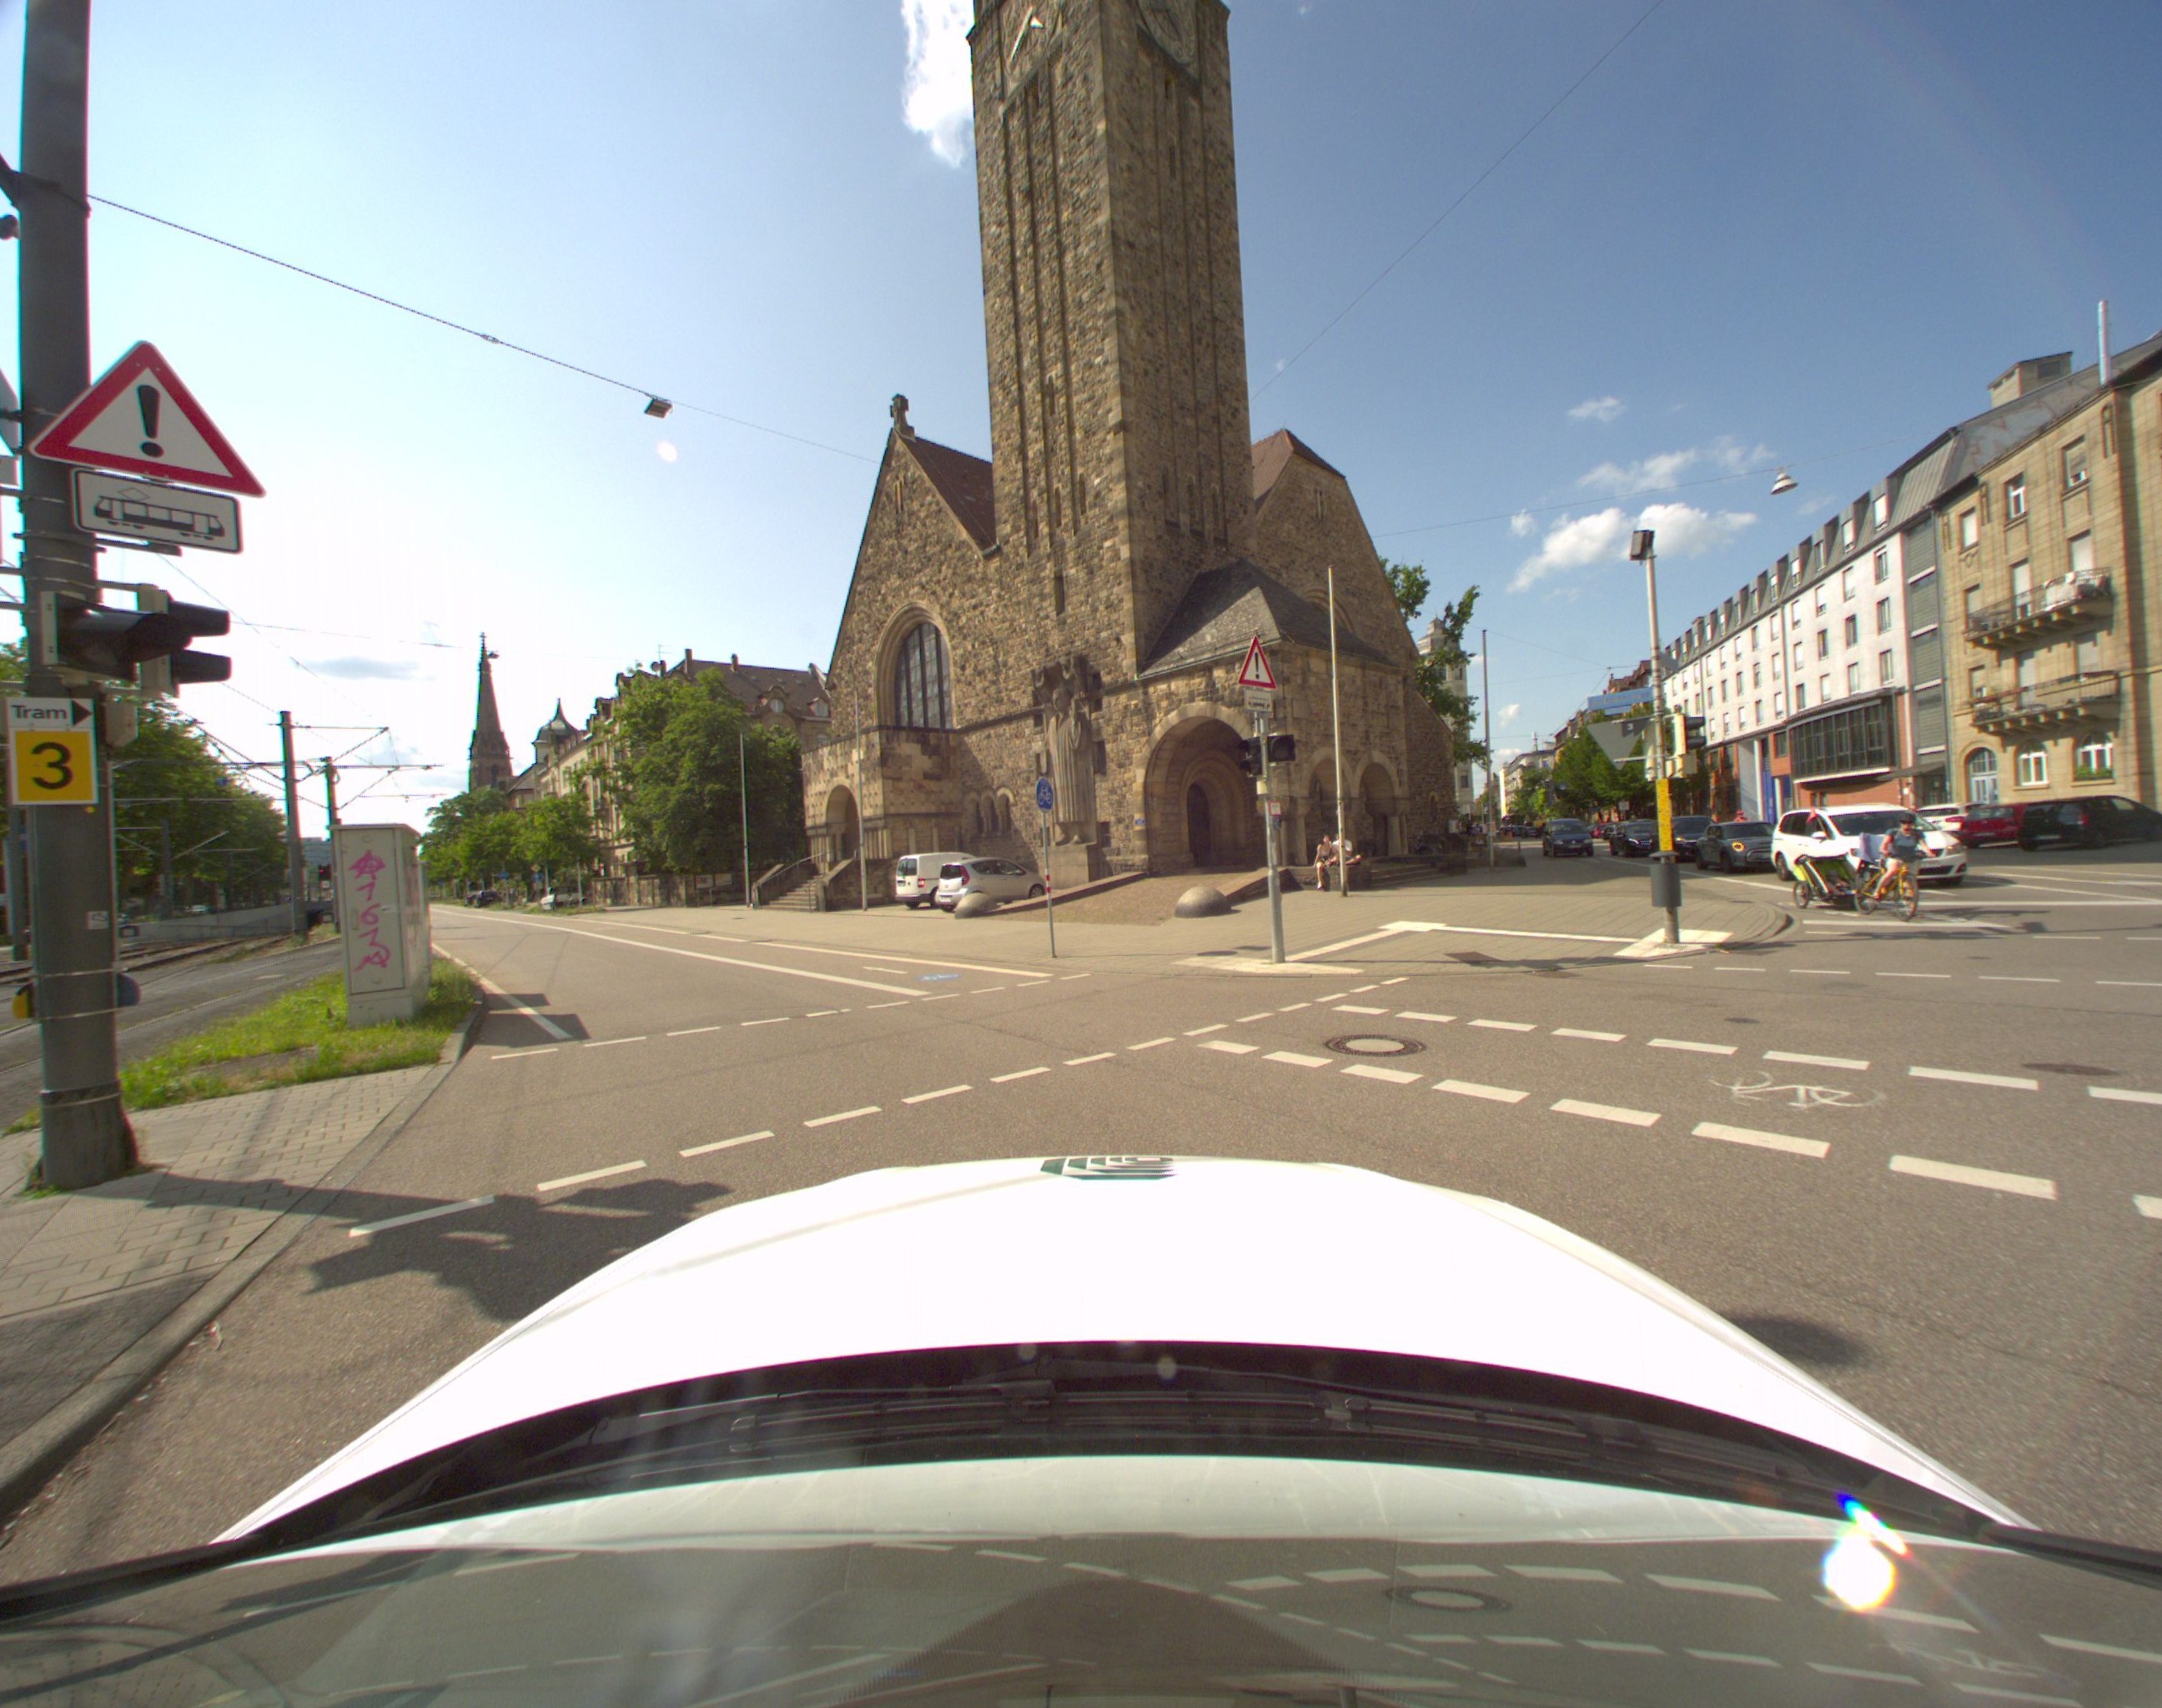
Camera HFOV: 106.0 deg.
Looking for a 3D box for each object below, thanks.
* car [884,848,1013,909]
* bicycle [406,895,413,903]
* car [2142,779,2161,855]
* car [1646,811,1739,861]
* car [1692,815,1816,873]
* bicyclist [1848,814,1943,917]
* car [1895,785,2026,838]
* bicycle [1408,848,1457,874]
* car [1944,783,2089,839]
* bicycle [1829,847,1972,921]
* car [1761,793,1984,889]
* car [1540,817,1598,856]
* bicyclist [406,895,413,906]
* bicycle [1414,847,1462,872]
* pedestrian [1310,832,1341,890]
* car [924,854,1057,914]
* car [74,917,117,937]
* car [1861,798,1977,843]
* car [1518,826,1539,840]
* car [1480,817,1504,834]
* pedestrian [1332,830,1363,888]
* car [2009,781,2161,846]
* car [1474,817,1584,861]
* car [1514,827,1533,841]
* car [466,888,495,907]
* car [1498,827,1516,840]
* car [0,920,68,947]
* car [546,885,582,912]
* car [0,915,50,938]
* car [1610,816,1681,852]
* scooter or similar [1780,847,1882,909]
[{"bbox_3d":[-4.565,0.824,28.480,4.039,1.823,1.840,-4,1,-45],"label":"car"},{"bbox_3d":[-112.410,7.513,136.311,0.806,1.236,2.744,-3,0,-41],"label":"bicycle"},{"bbox_3d":[28.111,-1.094,19.233,3.985,1.825,1.911,-6,0,-8],"label":"car"},{"bbox_3d":[22.370,-0.668,29.938,1.683,1.596,4.095,-3,0,22],"label":"car"},{"bbox_3d":[19.213,-0.323,23.440,1.655,1.450,3.757,-3,0,22],"label":"car"},{"bbox_3d":[12.537,0.170,12.571,0.645,1.503,0.926,-3,0,19],"label":"bicyclist"},{"bbox_3d":[32.502,-1.563,30.131,3.769,1.500,1.598,-6,0,-14],"label":"car"},{"bbox_3d":[10.999,0.227,25.532,0.341,0.741,1.350,-3,0,-44],"label":"bicycle"},{"bbox_3d":[31.481,-1.430,27.422,3.769,1.456,1.598,-6,0,-14],"label":"car"},{"bbox_3d":[12.538,0.422,12.558,0.645,0.989,2.145,-3,0,19],"label":"bicycle"},{"bbox_3d":[16.870,-0.298,17.716,1.793,1.740,4.689,-3,0,22],"label":"car"},{"bbox_3d":[23.468,-0.875,39.296,1.793,1.664,4.096,-4,1,23],"label":"car"},{"bbox_3d":[-112.490,7.828,136.410,0.777,1.730,1.014,-3,0,-41],"label":"bicyclist"},{"bbox_3d":[11.320,0.183,25.831,0.341,0.741,1.350,-3,0,-44],"label":"bicycle"},{"bbox_3d":[6.356,0.185,21.188,0.555,1.406,0.518,-5,6,1],"label":"pedestrian"},{"bbox_3d":[-2.786,0.905,25.642,3.801,1.547,1.776,-4,1,-44],"label":"car"},{"bbox_3d":[-81.399,5.992,67.293,1.510,1.303,3.450,-7,2,-40],"label":"car"},{"bbox_3d":[33.846,-1.338,32.917,3.567,1.396,1.598,-6,0,-14],"label":"car"},{"bbox_3d":[53.884,-2.584,98.039,1.767,1.552,4.023,-3,0,23],"label":"car"},{"bbox_3d":[34.336,-2.386,68.007,1.622,1.325,3.767,-4,1,29],"label":"car"},{"bbox_3d":[6.918,0.130,21.176,0.555,1.406,0.518,-5,6,1],"label":"pedestrian"},{"bbox_3d":[30.441,-1.223,24.448,3.993,1.546,1.703,-6,0,-14],"label":"car"},{"bbox_3d":[18.969,-0.585,34.719,2.026,1.652,3.958,-4,0,-10],"label":"car"},{"bbox_3d":[60.842,-2.746,112.018,1.976,1.815,4.023,-3,0,23],"label":"car"},{"bbox_3d":[-54.368,3.919,73.712,1.701,1.502,4.651,-4,0,-41],"label":"car"},{"bbox_3d":[64.395,-3.169,123.070,1.976,1.815,4.023,-3,0,23],"label":"car"},{"bbox_3d":[-67.461,5.098,52.527,1.682,1.416,3.740,-4,0,-37],"label":"car"},{"bbox_3d":[-30.129,2.569,47.386,1.680,1.416,3.803,-2,-1,-33],"label":"car"},{"bbox_3d":[-102.671,7.026,78.059,4.441,1.918,1.975,-4,0,-43],"label":"car"},{"bbox_3d":[24.523,-0.895,35.505,1.683,1.390,3.883,-3,0,22],"label":"car"},{"bbox_3d":[12.998,0.400,14.158,0.880,0.977,1.136,-3,0,19],"label":"scooter or similar"}]
